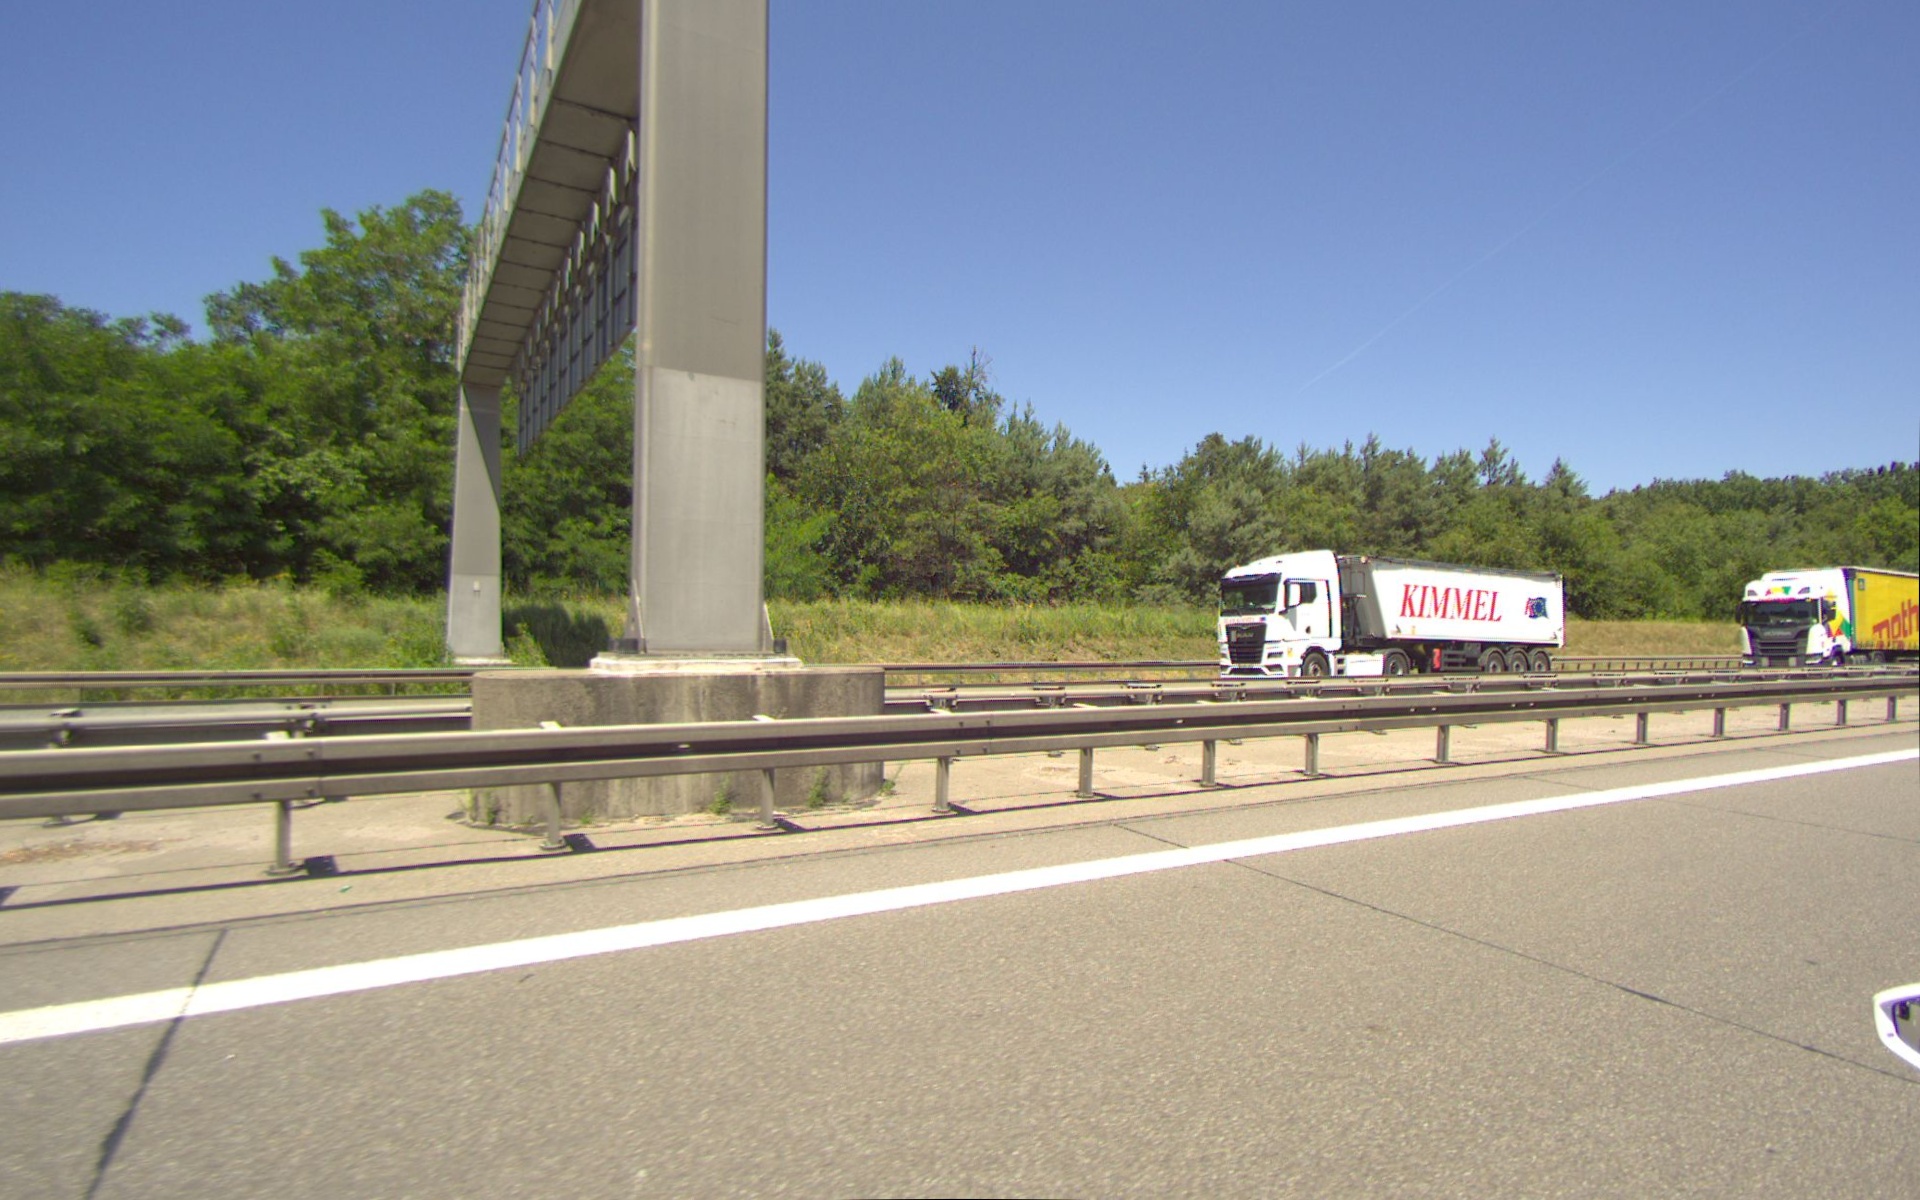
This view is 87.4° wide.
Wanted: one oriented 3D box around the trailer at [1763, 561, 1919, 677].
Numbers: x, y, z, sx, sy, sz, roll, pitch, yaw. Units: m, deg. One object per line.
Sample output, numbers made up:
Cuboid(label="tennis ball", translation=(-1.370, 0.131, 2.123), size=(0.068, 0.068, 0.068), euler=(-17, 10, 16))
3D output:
Cuboid(label="trailer", translation=(37.226, 0.895, 40.675), size=(14.113, 4.125, 2.452), euler=(1, -4, -31))

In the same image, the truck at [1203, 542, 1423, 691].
Cuboid(label="truck", translation=(10.504, 0.584, 29.758), size=(6.407, 3.999, 2.613), euler=(1, -4, -31))

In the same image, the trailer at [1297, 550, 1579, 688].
Cuboid(label="trailer", translation=(15.941, 0.728, 33.012), size=(11.028, 3.999, 2.613), euler=(1, -4, -31))

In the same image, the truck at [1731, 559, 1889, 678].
Cuboid(label="truck", translation=(31.582, 0.765, 37.285), size=(6.214, 4.125, 2.453), euler=(1, -4, -31))
